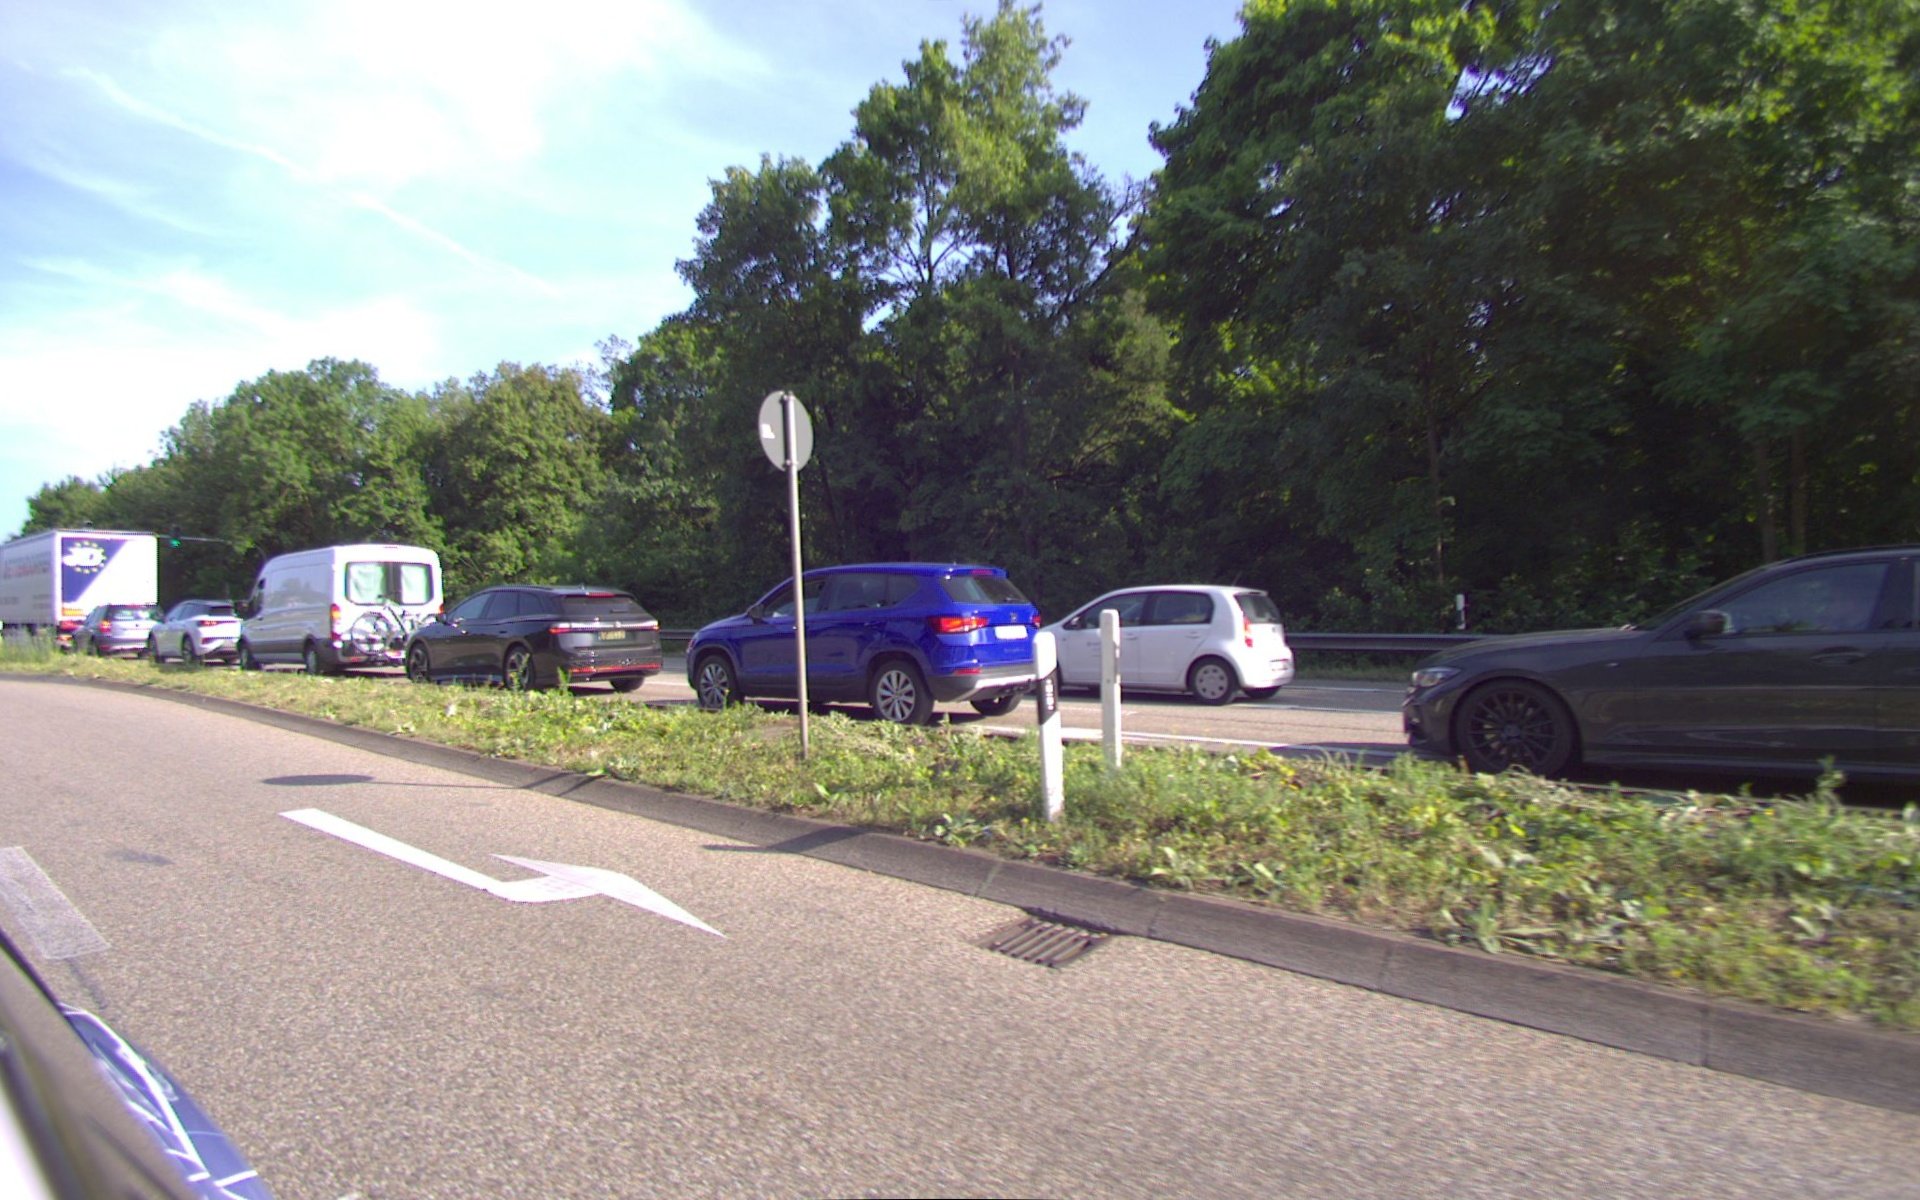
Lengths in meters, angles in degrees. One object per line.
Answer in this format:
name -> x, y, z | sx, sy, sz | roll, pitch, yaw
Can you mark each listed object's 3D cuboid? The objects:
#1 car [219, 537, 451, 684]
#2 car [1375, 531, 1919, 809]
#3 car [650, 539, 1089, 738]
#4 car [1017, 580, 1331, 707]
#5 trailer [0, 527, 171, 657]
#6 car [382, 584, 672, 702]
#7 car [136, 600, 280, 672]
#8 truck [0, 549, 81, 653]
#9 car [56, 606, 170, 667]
car -> -12.667, 0.266, 20.291 | 6.157, 2.553, 2.054 | -2, -2, 39
car -> 5.191, 0.359, 5.877 | 4.838, 1.390, 1.754 | -2, -1, 39
car -> -1.147, 0.390, 10.774 | 4.795, 1.682, 1.754 | -2, -1, 39
car -> 2.625, 0.554, 12.848 | 3.614, 1.394, 1.530 | -2, -4, 39
trailer -> -32.684, -0.118, 36.735 | 13.993, 4.025, 2.964 | -2, 1, 38
car -> -6.522, 0.601, 14.922 | 5.180, 1.467, 1.743 | -2, -1, 39
car -> -18.820, 0.896, 25.239 | 4.740, 1.644, 1.684 | -2, -1, 38
truck -> -39.052, 0.091, 41.709 | 6.711, 4.027, 2.864 | -2, 1, 38
car -> -24.941, 1.062, 29.751 | 4.364, 1.644, 1.684 | -2, -1, 38
